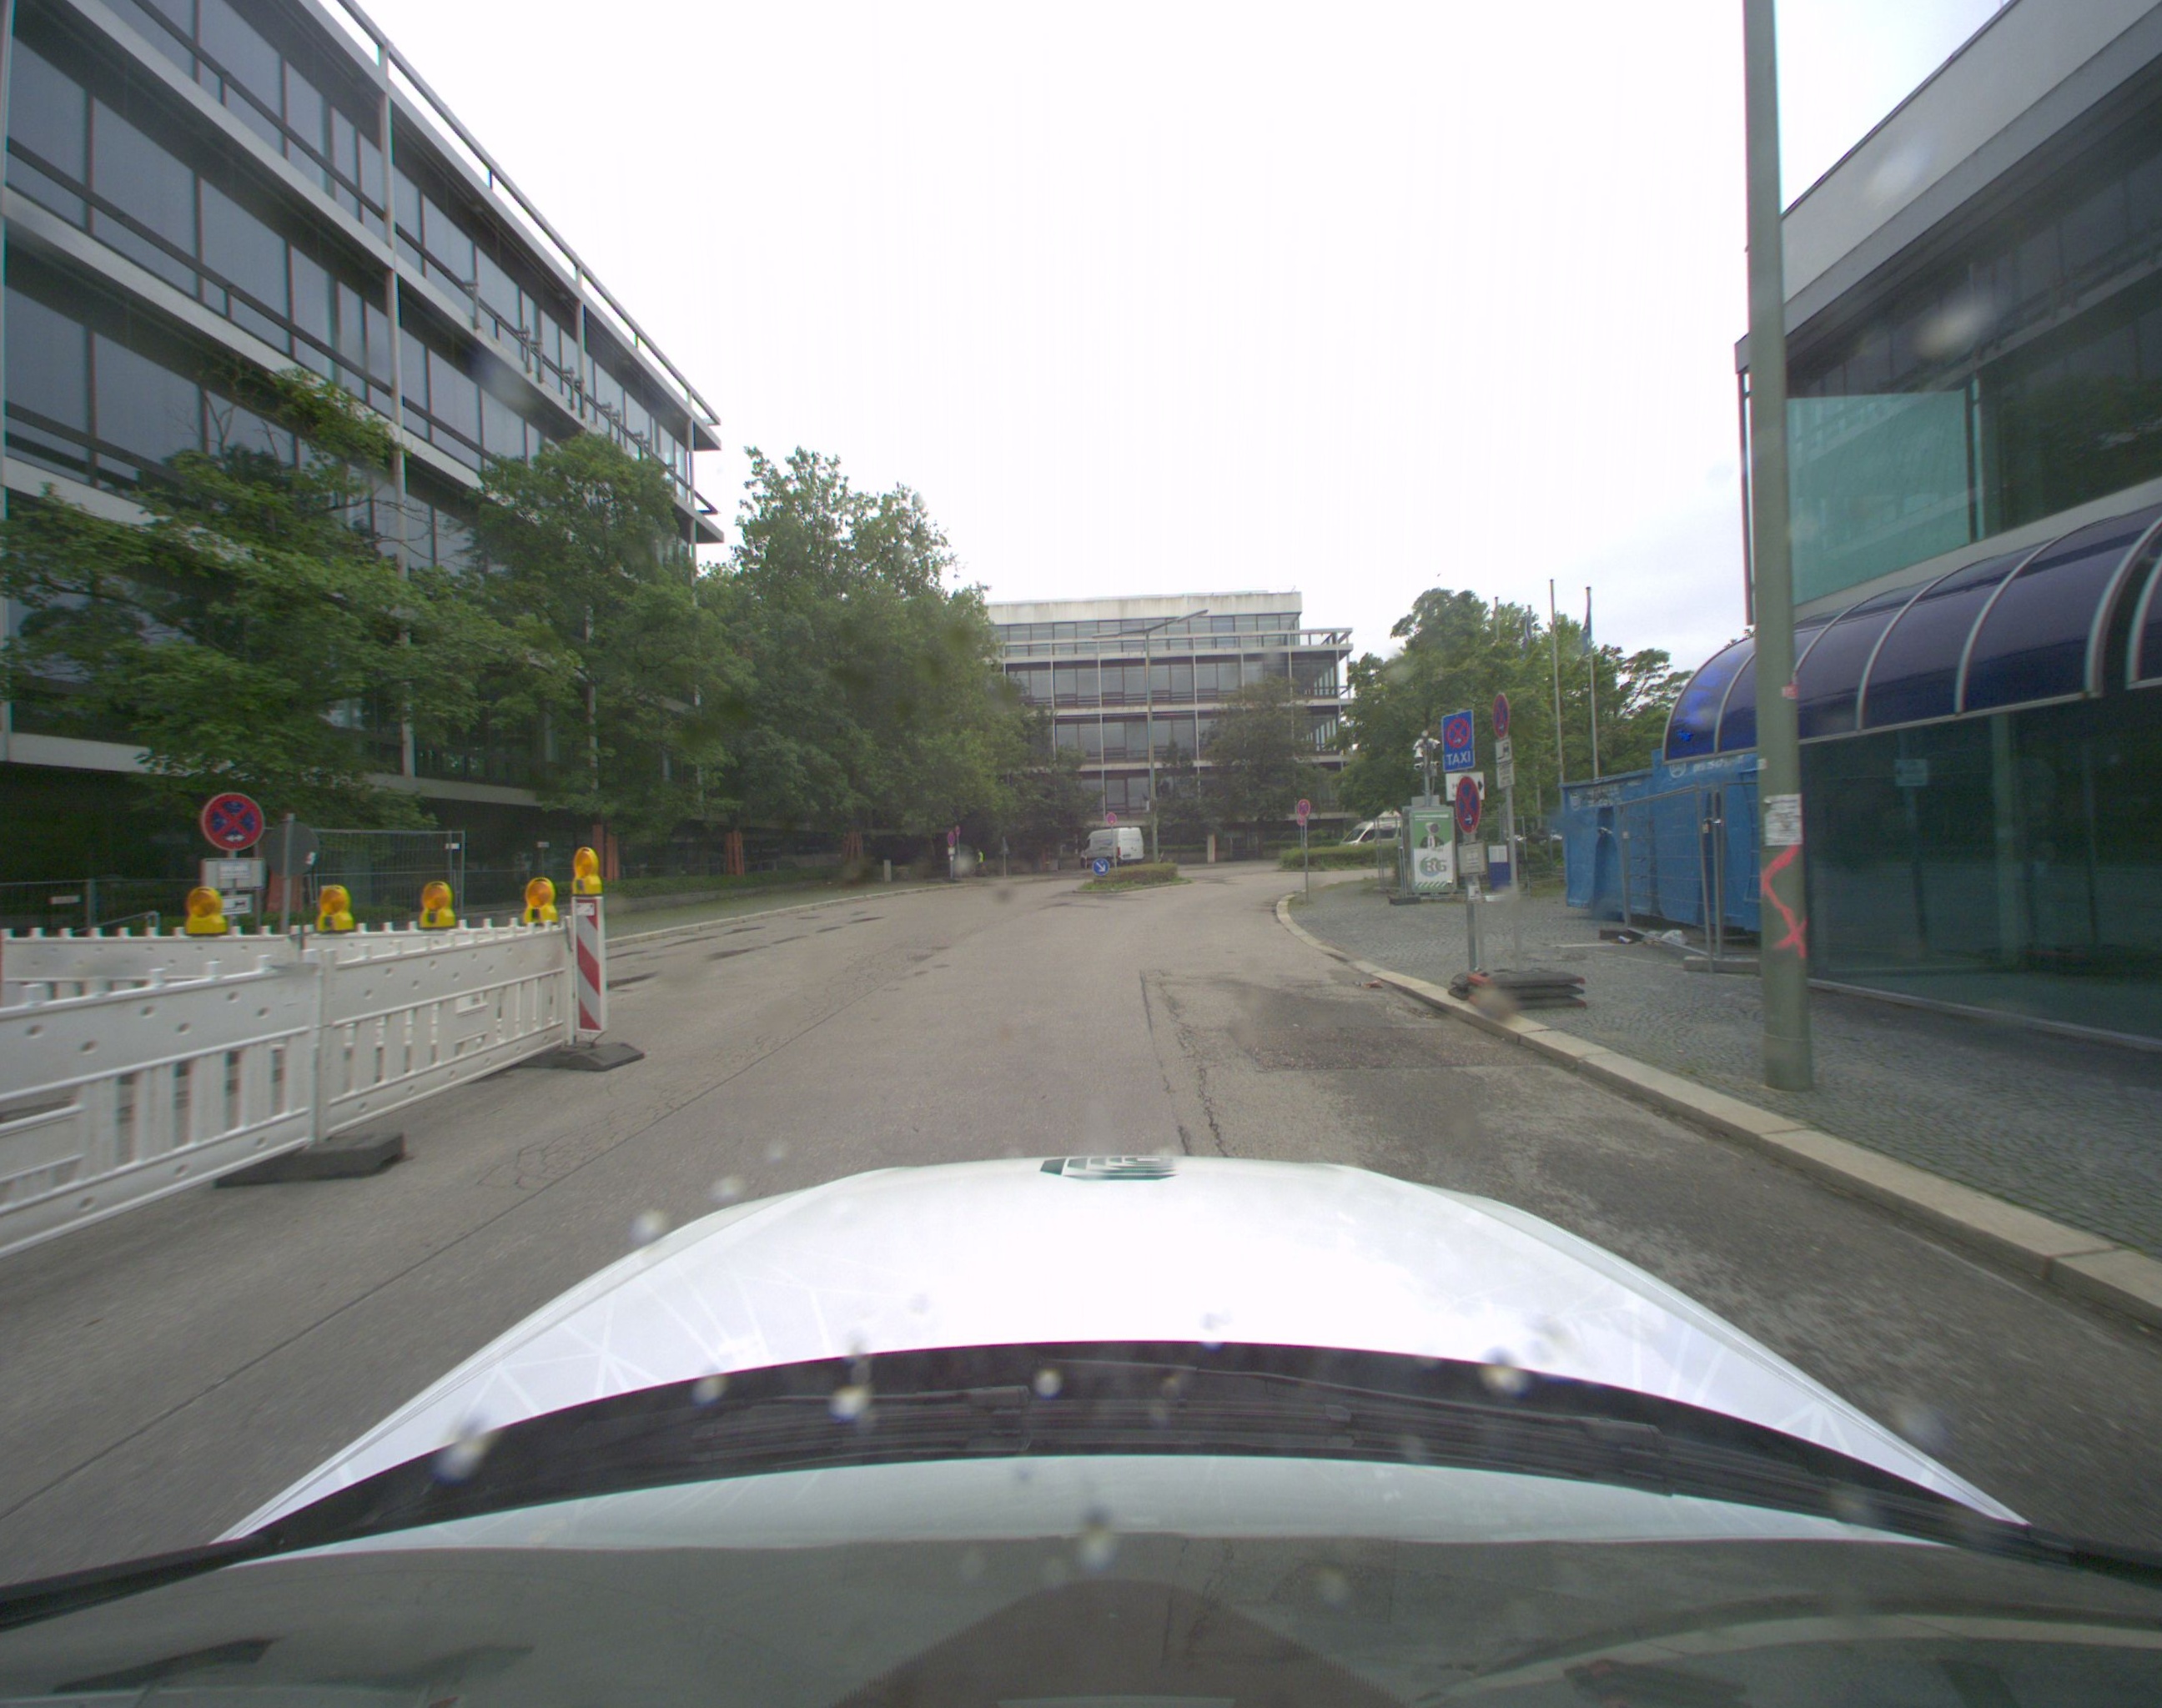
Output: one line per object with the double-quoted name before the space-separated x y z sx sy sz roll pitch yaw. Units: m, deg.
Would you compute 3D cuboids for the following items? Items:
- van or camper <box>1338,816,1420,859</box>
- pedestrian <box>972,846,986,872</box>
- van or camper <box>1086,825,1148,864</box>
"van or camper" 19.097 -1.036 52.362 4.449 2.585 2.102 -2 0 -9
"pedestrian" -6.782 0.352 54.158 0.743 1.677 0.678 -2 0 -18
"van or camper" 2.389 -0.597 55.219 2.095 2.492 5.027 -2 0 -24
